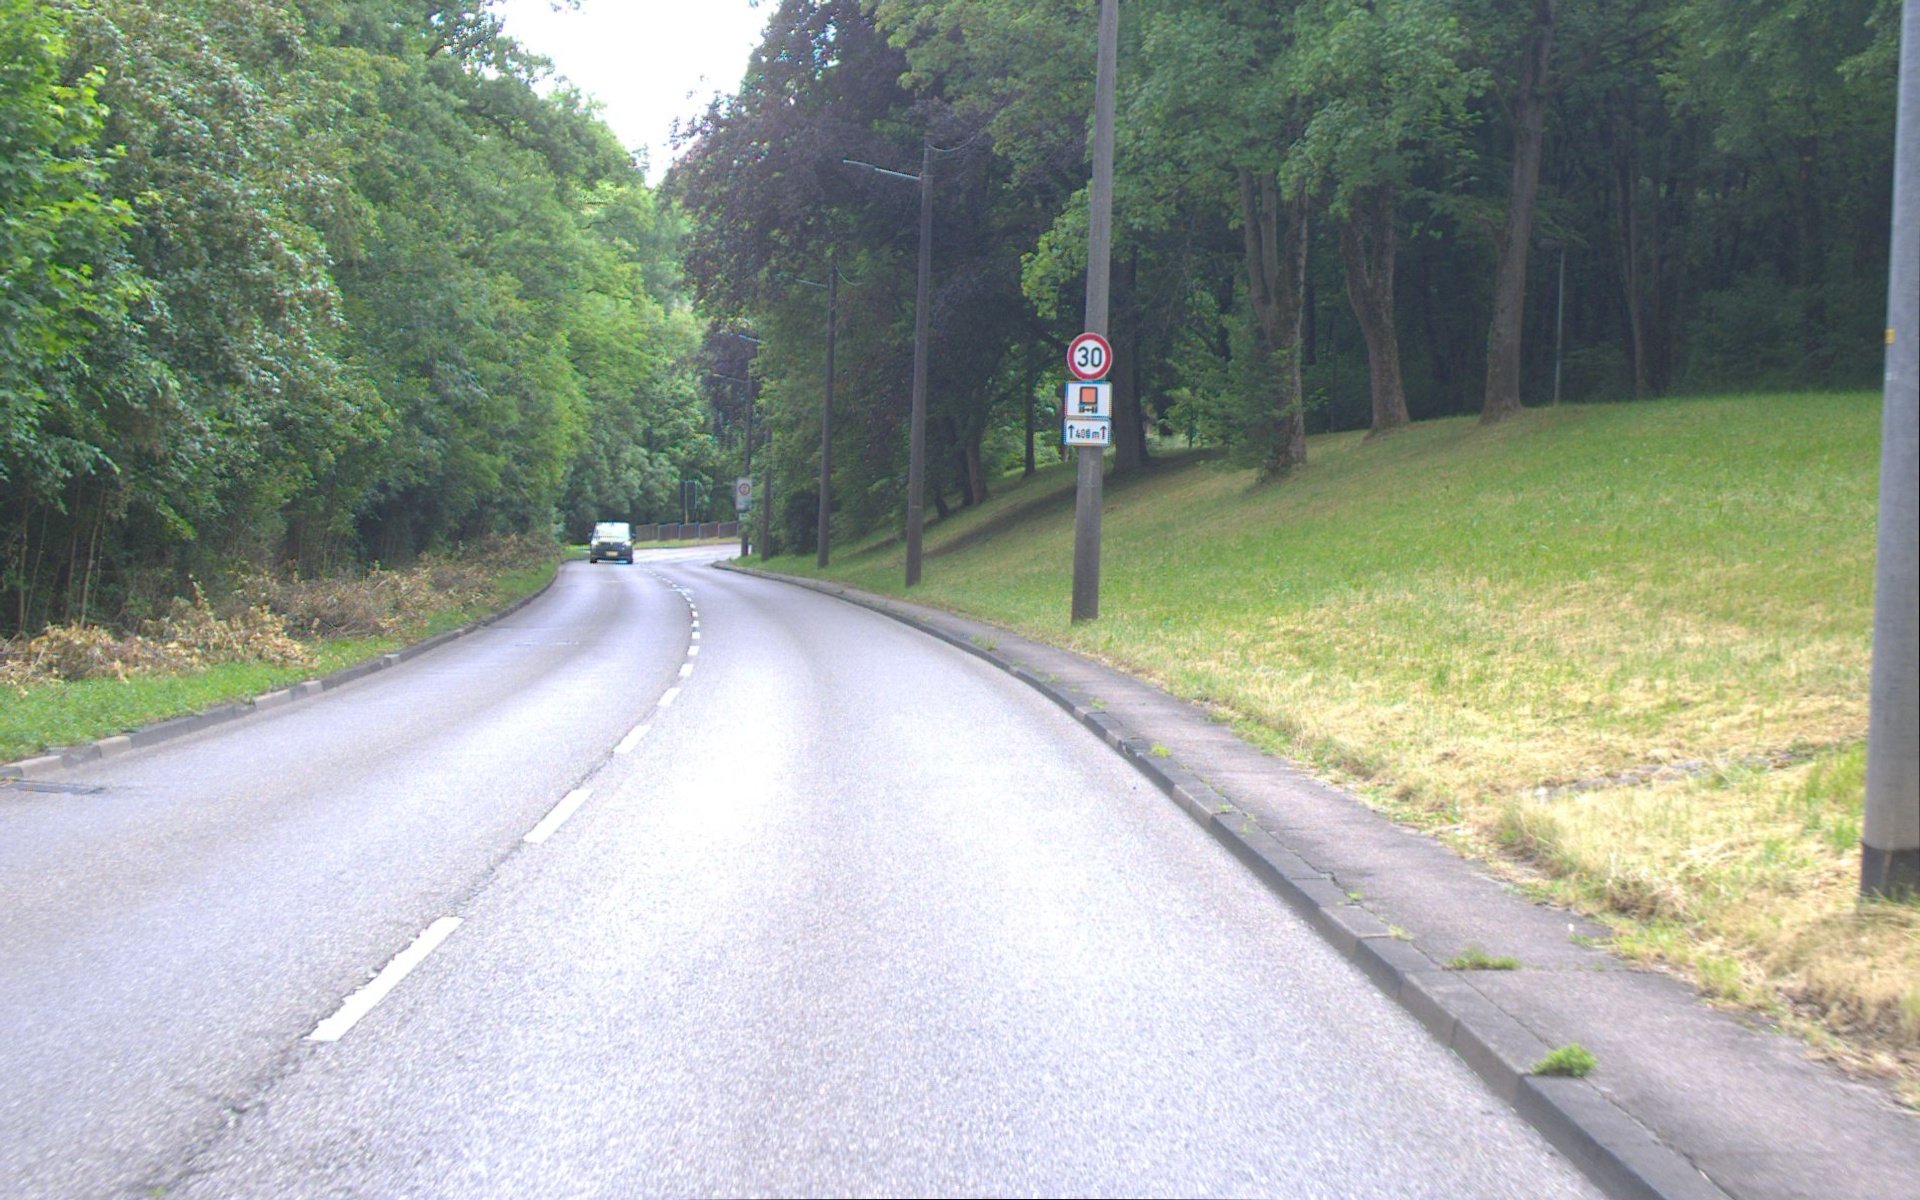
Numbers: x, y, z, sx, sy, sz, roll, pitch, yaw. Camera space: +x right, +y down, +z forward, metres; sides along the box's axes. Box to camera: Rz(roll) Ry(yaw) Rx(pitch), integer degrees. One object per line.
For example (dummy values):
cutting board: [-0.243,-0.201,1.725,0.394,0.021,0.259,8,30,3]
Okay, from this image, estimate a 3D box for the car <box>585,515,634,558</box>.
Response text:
car: [-16.028,-2.889,157.364,1.993,1.941,4.946,1,1,-4]
